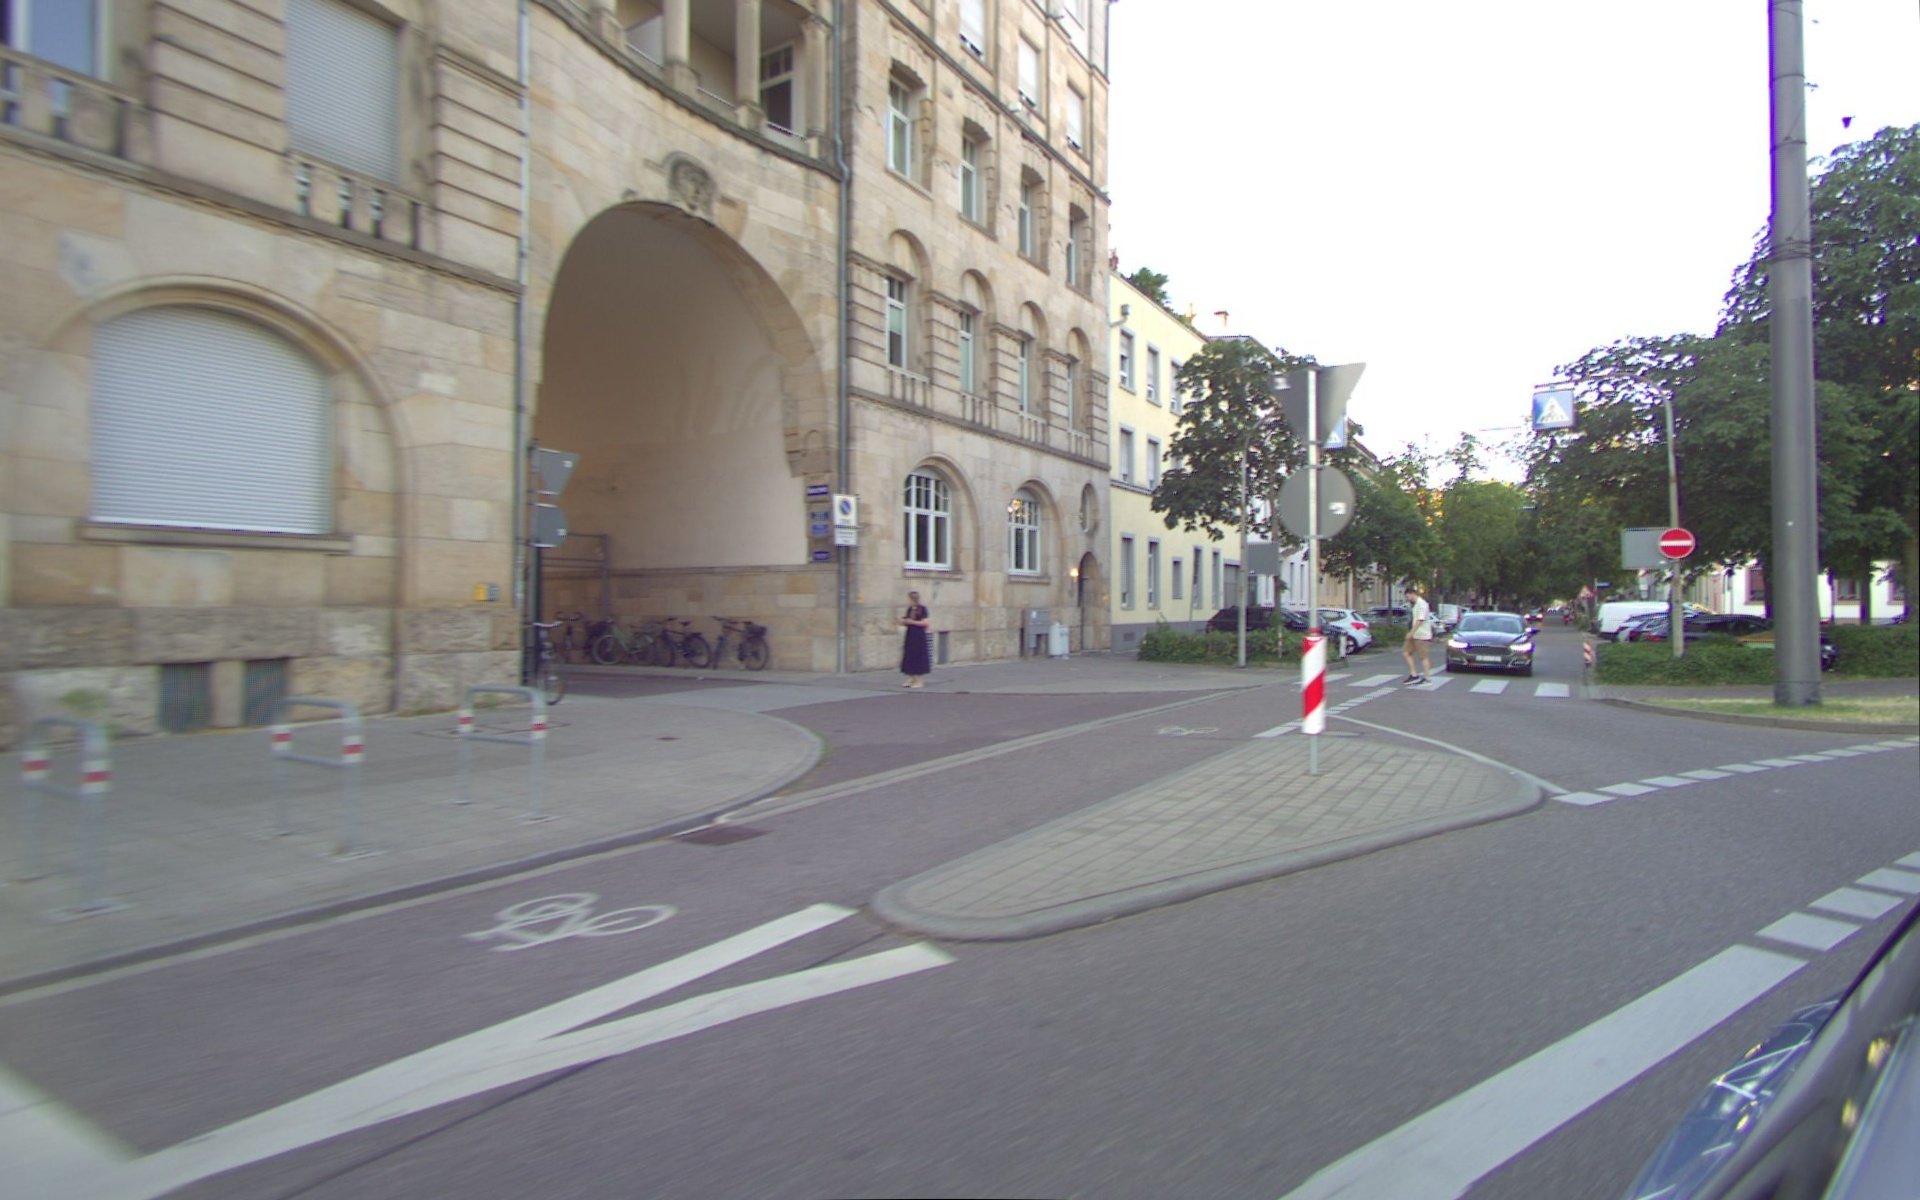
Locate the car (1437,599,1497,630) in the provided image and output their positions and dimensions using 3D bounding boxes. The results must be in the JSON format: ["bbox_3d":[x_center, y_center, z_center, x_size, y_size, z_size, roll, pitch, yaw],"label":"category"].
[{"bbox_3d":[39.441,1.147,78.711,4.036,2.323,1.977,1,-1,32],"label":"car"}]

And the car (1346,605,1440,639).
[{"bbox_3d":[21.376,1.082,49.949,4.036,1.571,1.977,1,-1,32],"label":"car"}]

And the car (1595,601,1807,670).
[{"bbox_3d":[18.625,0.837,25.565,1.834,1.576,4.059,2,-1,-43],"label":"car"}]

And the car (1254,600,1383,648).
[{"bbox_3d":[12.850,0.833,36.355,4.041,1.590,1.815,1,-1,35],"label":"car"}]

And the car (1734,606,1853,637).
[{"bbox_3d":[42.077,1.074,51.155,1.696,1.437,4.392,2,-1,-38],"label":"car"}]

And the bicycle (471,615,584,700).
[{"bbox_3d":[-6.007,0.768,14.010,1.841,1.087,0.424,1,-1,31],"label":"bicycle"}]

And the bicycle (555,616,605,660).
[{"bbox_3d":[-8.825,0.870,23.490,1.244,0.983,0.370,1,-1,31],"label":"bicycle"}]

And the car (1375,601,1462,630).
[{"bbox_3d":[25.863,0.869,57.169,1.966,1.571,4.059,2,-1,-43],"label":"car"}]

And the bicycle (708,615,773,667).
[{"bbox_3d":[-4.472,0.822,20.607,1.430,0.999,0.356,1,-1,31],"label":"bicycle"}]

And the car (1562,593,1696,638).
[{"bbox_3d":[32.294,0.715,49.015,1.930,2.048,5.082,2,-1,-35],"label":"car"}]

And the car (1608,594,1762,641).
[{"bbox_3d":[31.675,0.733,44.365,2.081,1.927,5.082,2,-1,-35],"label":"car"}]

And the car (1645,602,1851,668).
[{"bbox_3d":[20.685,0.877,26.673,1.834,1.576,4.059,2,-1,-43],"label":"car"}]

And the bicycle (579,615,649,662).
[{"bbox_3d":[-7.723,0.845,22.587,1.559,0.983,0.603,1,-1,31],"label":"bicycle"}]

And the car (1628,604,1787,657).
[{"bbox_3d":[25.129,0.979,34.104,1.966,1.638,4.059,2,-1,-43],"label":"car"}]

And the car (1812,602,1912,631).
[{"bbox_3d":[47.168,0.841,52.974,1.669,1.468,3.675,2,-1,-36],"label":"car"}]

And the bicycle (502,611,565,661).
[{"bbox_3d":[-10.250,0.845,24.304,1.601,1.143,0.529,1,-1,31],"label":"bicycle"}]

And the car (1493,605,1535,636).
[{"bbox_3d":[28.084,1.019,51.344,1.805,1.501,4.093,1,-1,29],"label":"car"}]

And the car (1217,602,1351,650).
[{"bbox_3d":[11.036,0.865,34.551,4.039,1.504,1.815,1,-1,33],"label":"car"}]

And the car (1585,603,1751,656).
[{"bbox_3d":[22.630,0.906,32.419,1.966,1.571,4.059,2,-1,-43],"label":"car"}]

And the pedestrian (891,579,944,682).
[{"bbox_3d":[-0.723,0.511,17.425,0.574,1.731,0.712,0,-1,35],"label":"pedestrian"}]

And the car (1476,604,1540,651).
[{"bbox_3d":[19.045,0.929,35.110,1.806,1.501,4.089,1,-1,31],"label":"car"}]

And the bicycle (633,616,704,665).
[{"bbox_3d":[-6.278,0.851,21.768,1.720,0.999,0.409,1,-1,31],"label":"bicycle"}]

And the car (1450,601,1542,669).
[{"bbox_3d":[13.144,0.814,24.711,1.806,1.501,4.089,1,-1,31],"label":"car"}]

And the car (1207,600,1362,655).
[{"bbox_3d":[10.279,0.840,32.164,4.368,1.578,1.815,1,-1,34],"label":"car"}]

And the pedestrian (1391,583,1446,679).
[{"bbox_3d":[8.835,0.591,19.503,0.804,1.815,0.593,1,-1,-26],"label":"pedestrian"}]

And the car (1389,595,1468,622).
[{"bbox_3d":[29.511,0.531,63.729,4.363,1.633,1.710,1,-1,31],"label":"car"}]

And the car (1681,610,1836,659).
[{"bbox_3d":[28.175,1.191,35.783,1.966,1.571,4.059,2,-1,-43],"label":"car"}]

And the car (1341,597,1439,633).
[{"bbox_3d":[20.277,0.695,47.773,4.036,1.571,1.977,1,-1,32],"label":"car"}]

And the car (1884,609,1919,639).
[{"bbox_3d":[45.373,1.142,46.736,1.696,1.353,3.780,2,-1,-38],"label":"car"}]
